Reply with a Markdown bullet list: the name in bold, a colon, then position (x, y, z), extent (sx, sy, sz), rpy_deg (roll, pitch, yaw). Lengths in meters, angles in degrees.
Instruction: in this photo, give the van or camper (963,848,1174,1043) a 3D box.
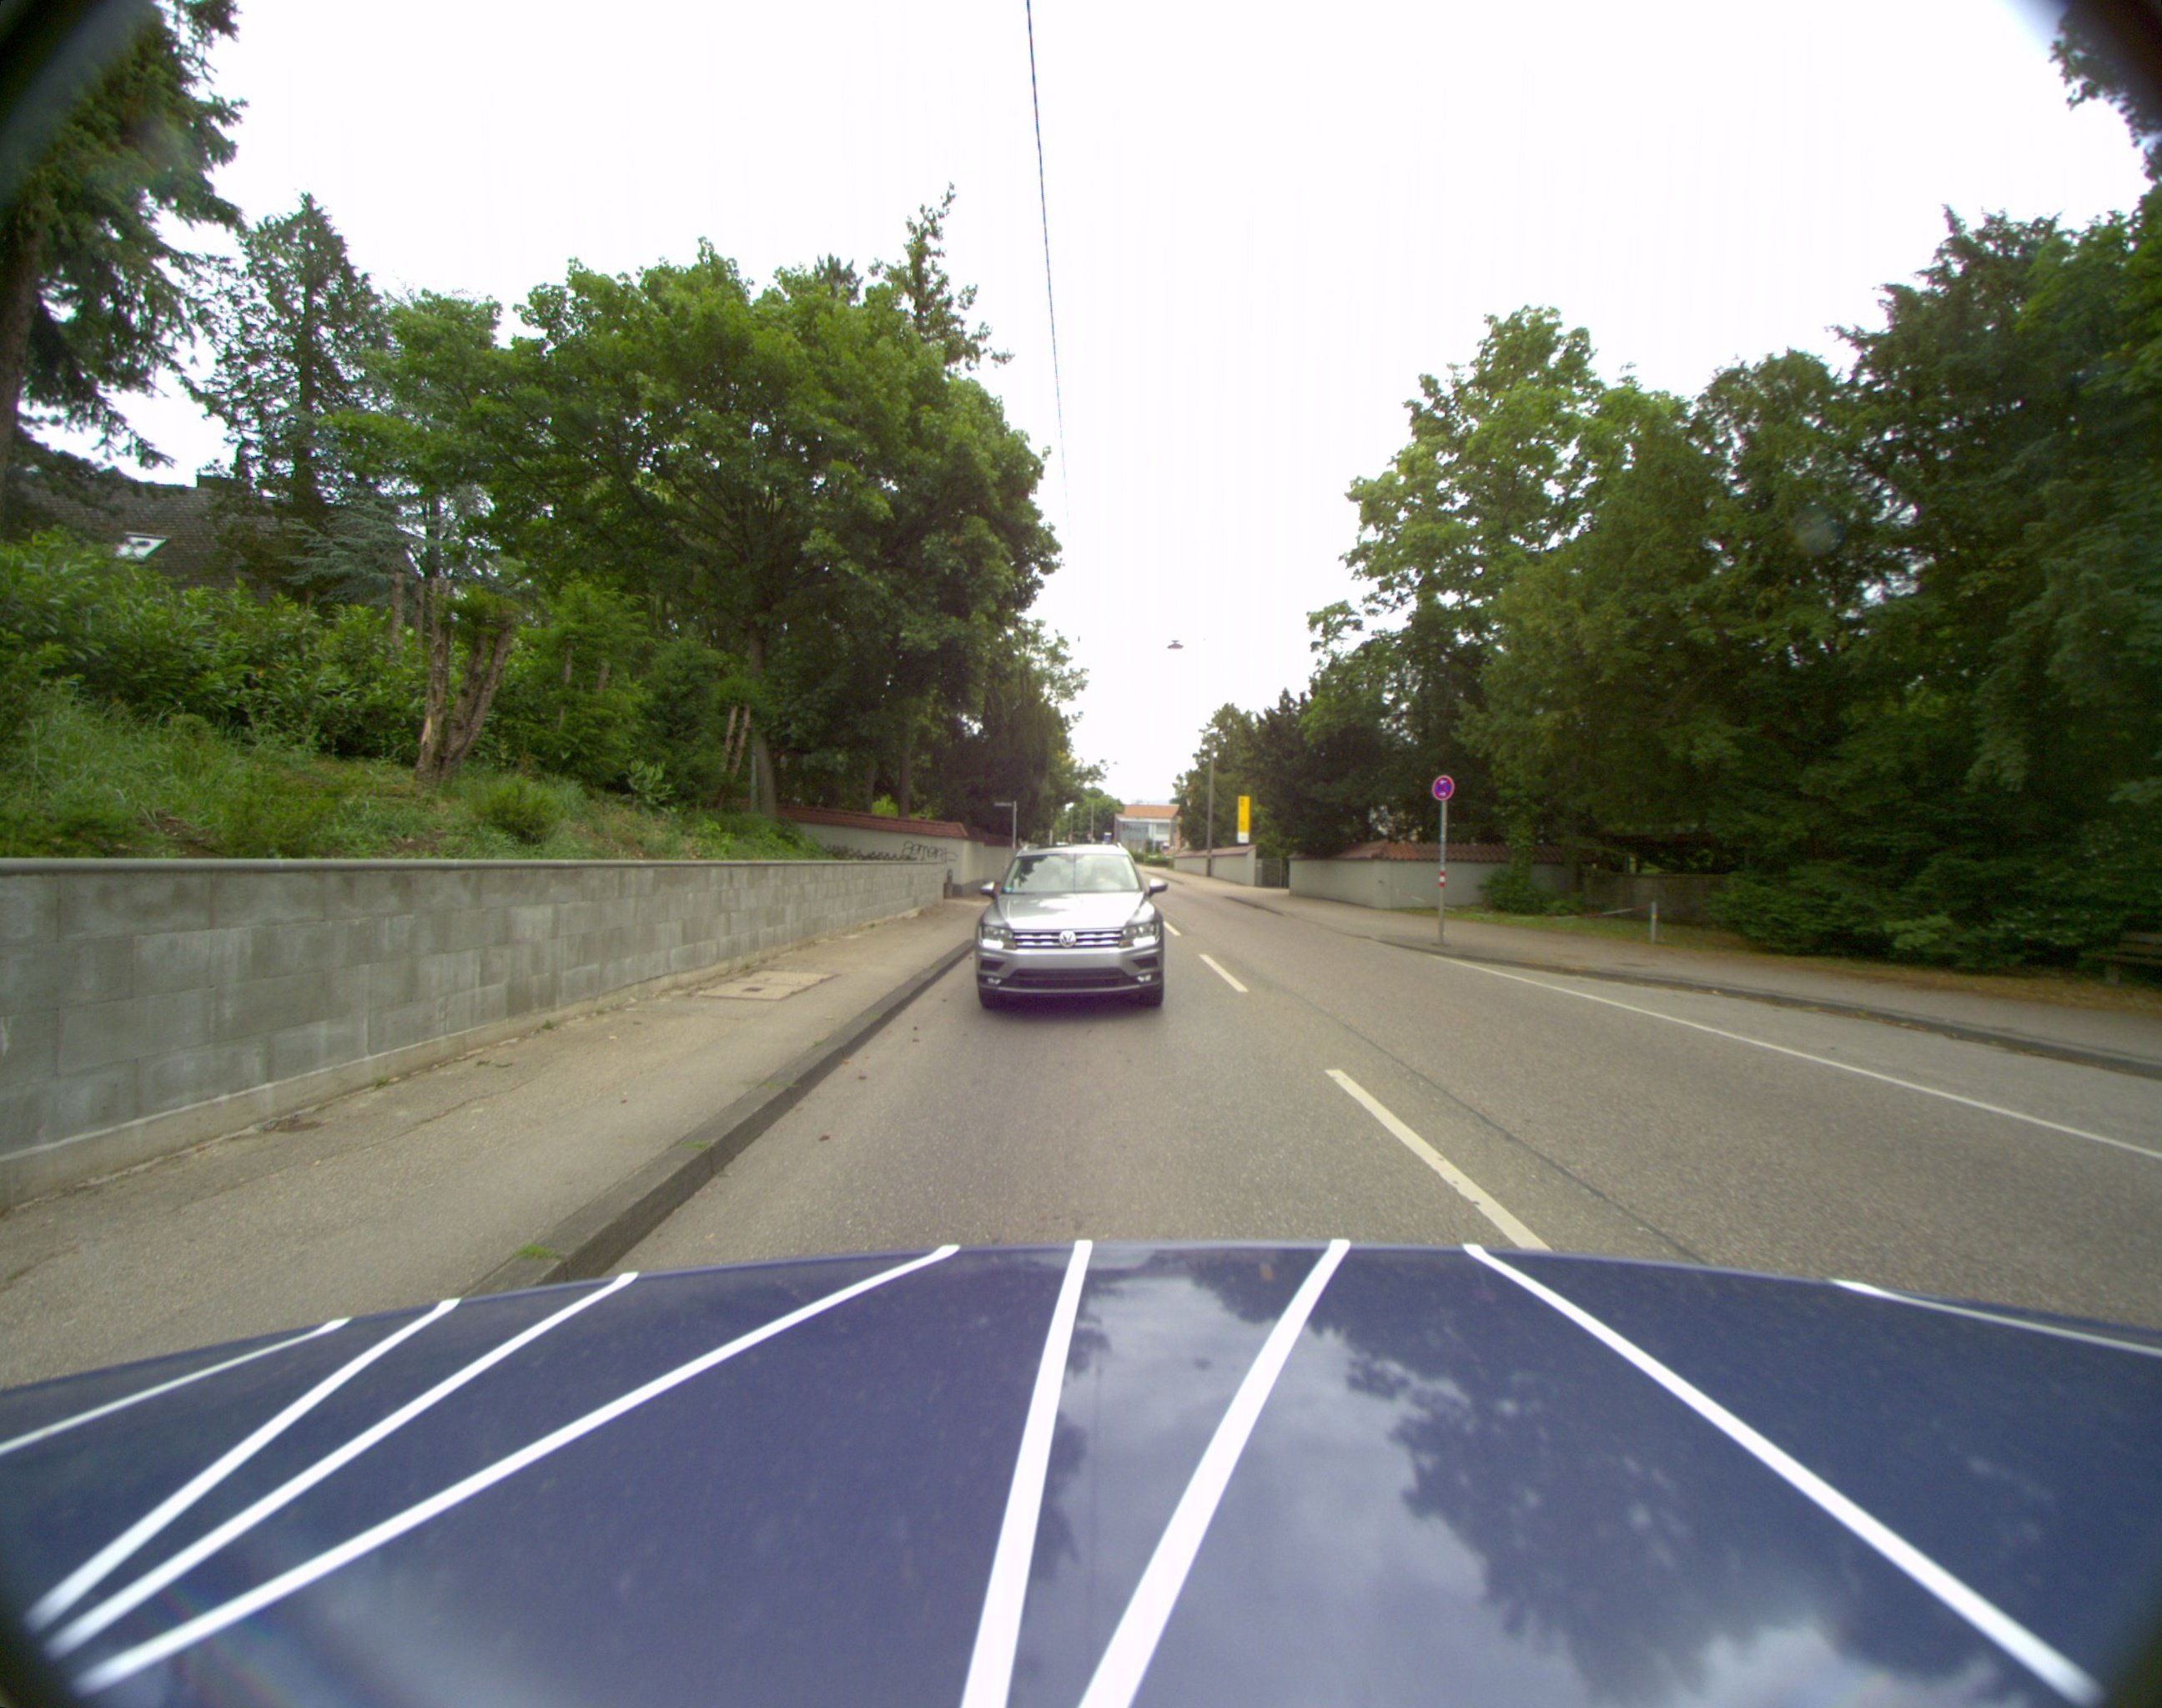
- **van or camper**: position (-0.084, 0.773, 8.614), extent (1.800, 1.663, 4.198), rpy_deg (0, 0, 1)
